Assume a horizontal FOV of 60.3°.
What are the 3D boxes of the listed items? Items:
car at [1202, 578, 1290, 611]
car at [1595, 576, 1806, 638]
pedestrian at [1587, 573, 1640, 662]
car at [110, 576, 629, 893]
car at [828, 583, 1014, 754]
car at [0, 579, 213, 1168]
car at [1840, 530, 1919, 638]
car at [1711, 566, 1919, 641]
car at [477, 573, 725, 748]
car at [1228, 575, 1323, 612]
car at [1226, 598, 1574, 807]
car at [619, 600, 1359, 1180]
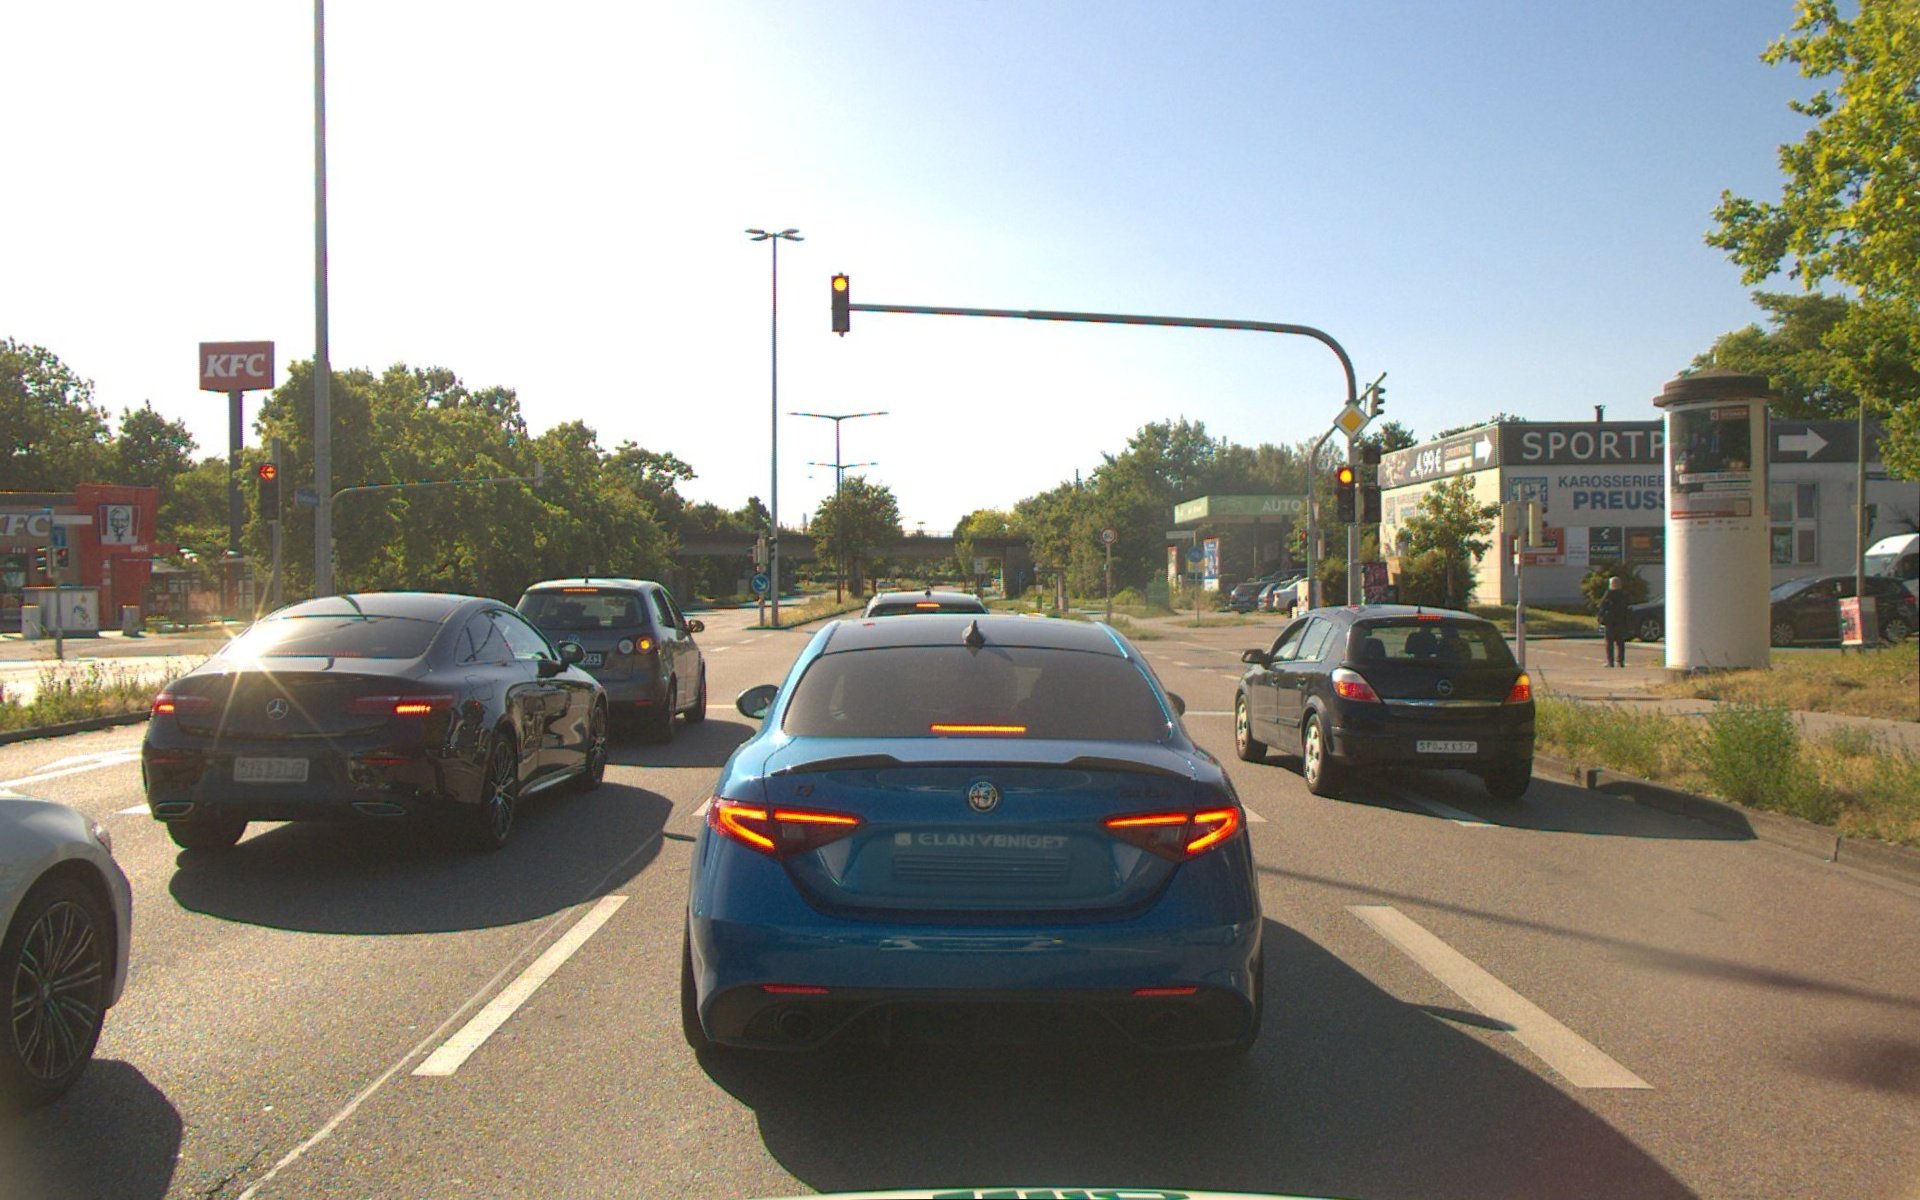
[{"bbox_3d":[14.424,-0.256,83.371,3.925,1.579,1.990,1,0,-18],"label":"car"},{"bbox_3d":[19.184,0.192,42.948,4.722,1.493,1.758,1,0,-3],"label":"car"},{"bbox_3d":[12.657,0.341,32.028,0.800,1.698,0.514,1,-1,-1],"label":"pedestrian"},{"bbox_3d":[-3.414,0.664,10.571,1.775,1.578,4.542,0,0,-1],"label":"car"},{"bbox_3d":[-0.324,0.627,16.848,1.669,1.523,3.719,1,0,1],"label":"car"},{"bbox_3d":[-3.344,0.706,3.143,1.775,1.512,4.596,0,0,0],"label":"car"},{"bbox_3d":[26.294,-0.462,43.014,5.715,2.719,2.000,-1,0,0],"label":"car"},{"bbox_3d":[20.341,0.095,39.365,4.219,1.678,1.637,1,0,-2],"label":"car"},{"bbox_3d":[-3.599,0.563,17.341,1.776,1.578,4.351,1,0,-2],"label":"car"},{"bbox_3d":[14.247,-0.304,74.898,3.905,1.579,2.000,1,0,0],"label":"car"},{"bbox_3d":[3.504,0.733,14.024,1.699,1.467,4.370,1,0,-1],"label":"car"},{"bbox_3d":[0.103,0.749,6.095,1.870,1.447,3.719,1,0,1],"label":"car"}]
